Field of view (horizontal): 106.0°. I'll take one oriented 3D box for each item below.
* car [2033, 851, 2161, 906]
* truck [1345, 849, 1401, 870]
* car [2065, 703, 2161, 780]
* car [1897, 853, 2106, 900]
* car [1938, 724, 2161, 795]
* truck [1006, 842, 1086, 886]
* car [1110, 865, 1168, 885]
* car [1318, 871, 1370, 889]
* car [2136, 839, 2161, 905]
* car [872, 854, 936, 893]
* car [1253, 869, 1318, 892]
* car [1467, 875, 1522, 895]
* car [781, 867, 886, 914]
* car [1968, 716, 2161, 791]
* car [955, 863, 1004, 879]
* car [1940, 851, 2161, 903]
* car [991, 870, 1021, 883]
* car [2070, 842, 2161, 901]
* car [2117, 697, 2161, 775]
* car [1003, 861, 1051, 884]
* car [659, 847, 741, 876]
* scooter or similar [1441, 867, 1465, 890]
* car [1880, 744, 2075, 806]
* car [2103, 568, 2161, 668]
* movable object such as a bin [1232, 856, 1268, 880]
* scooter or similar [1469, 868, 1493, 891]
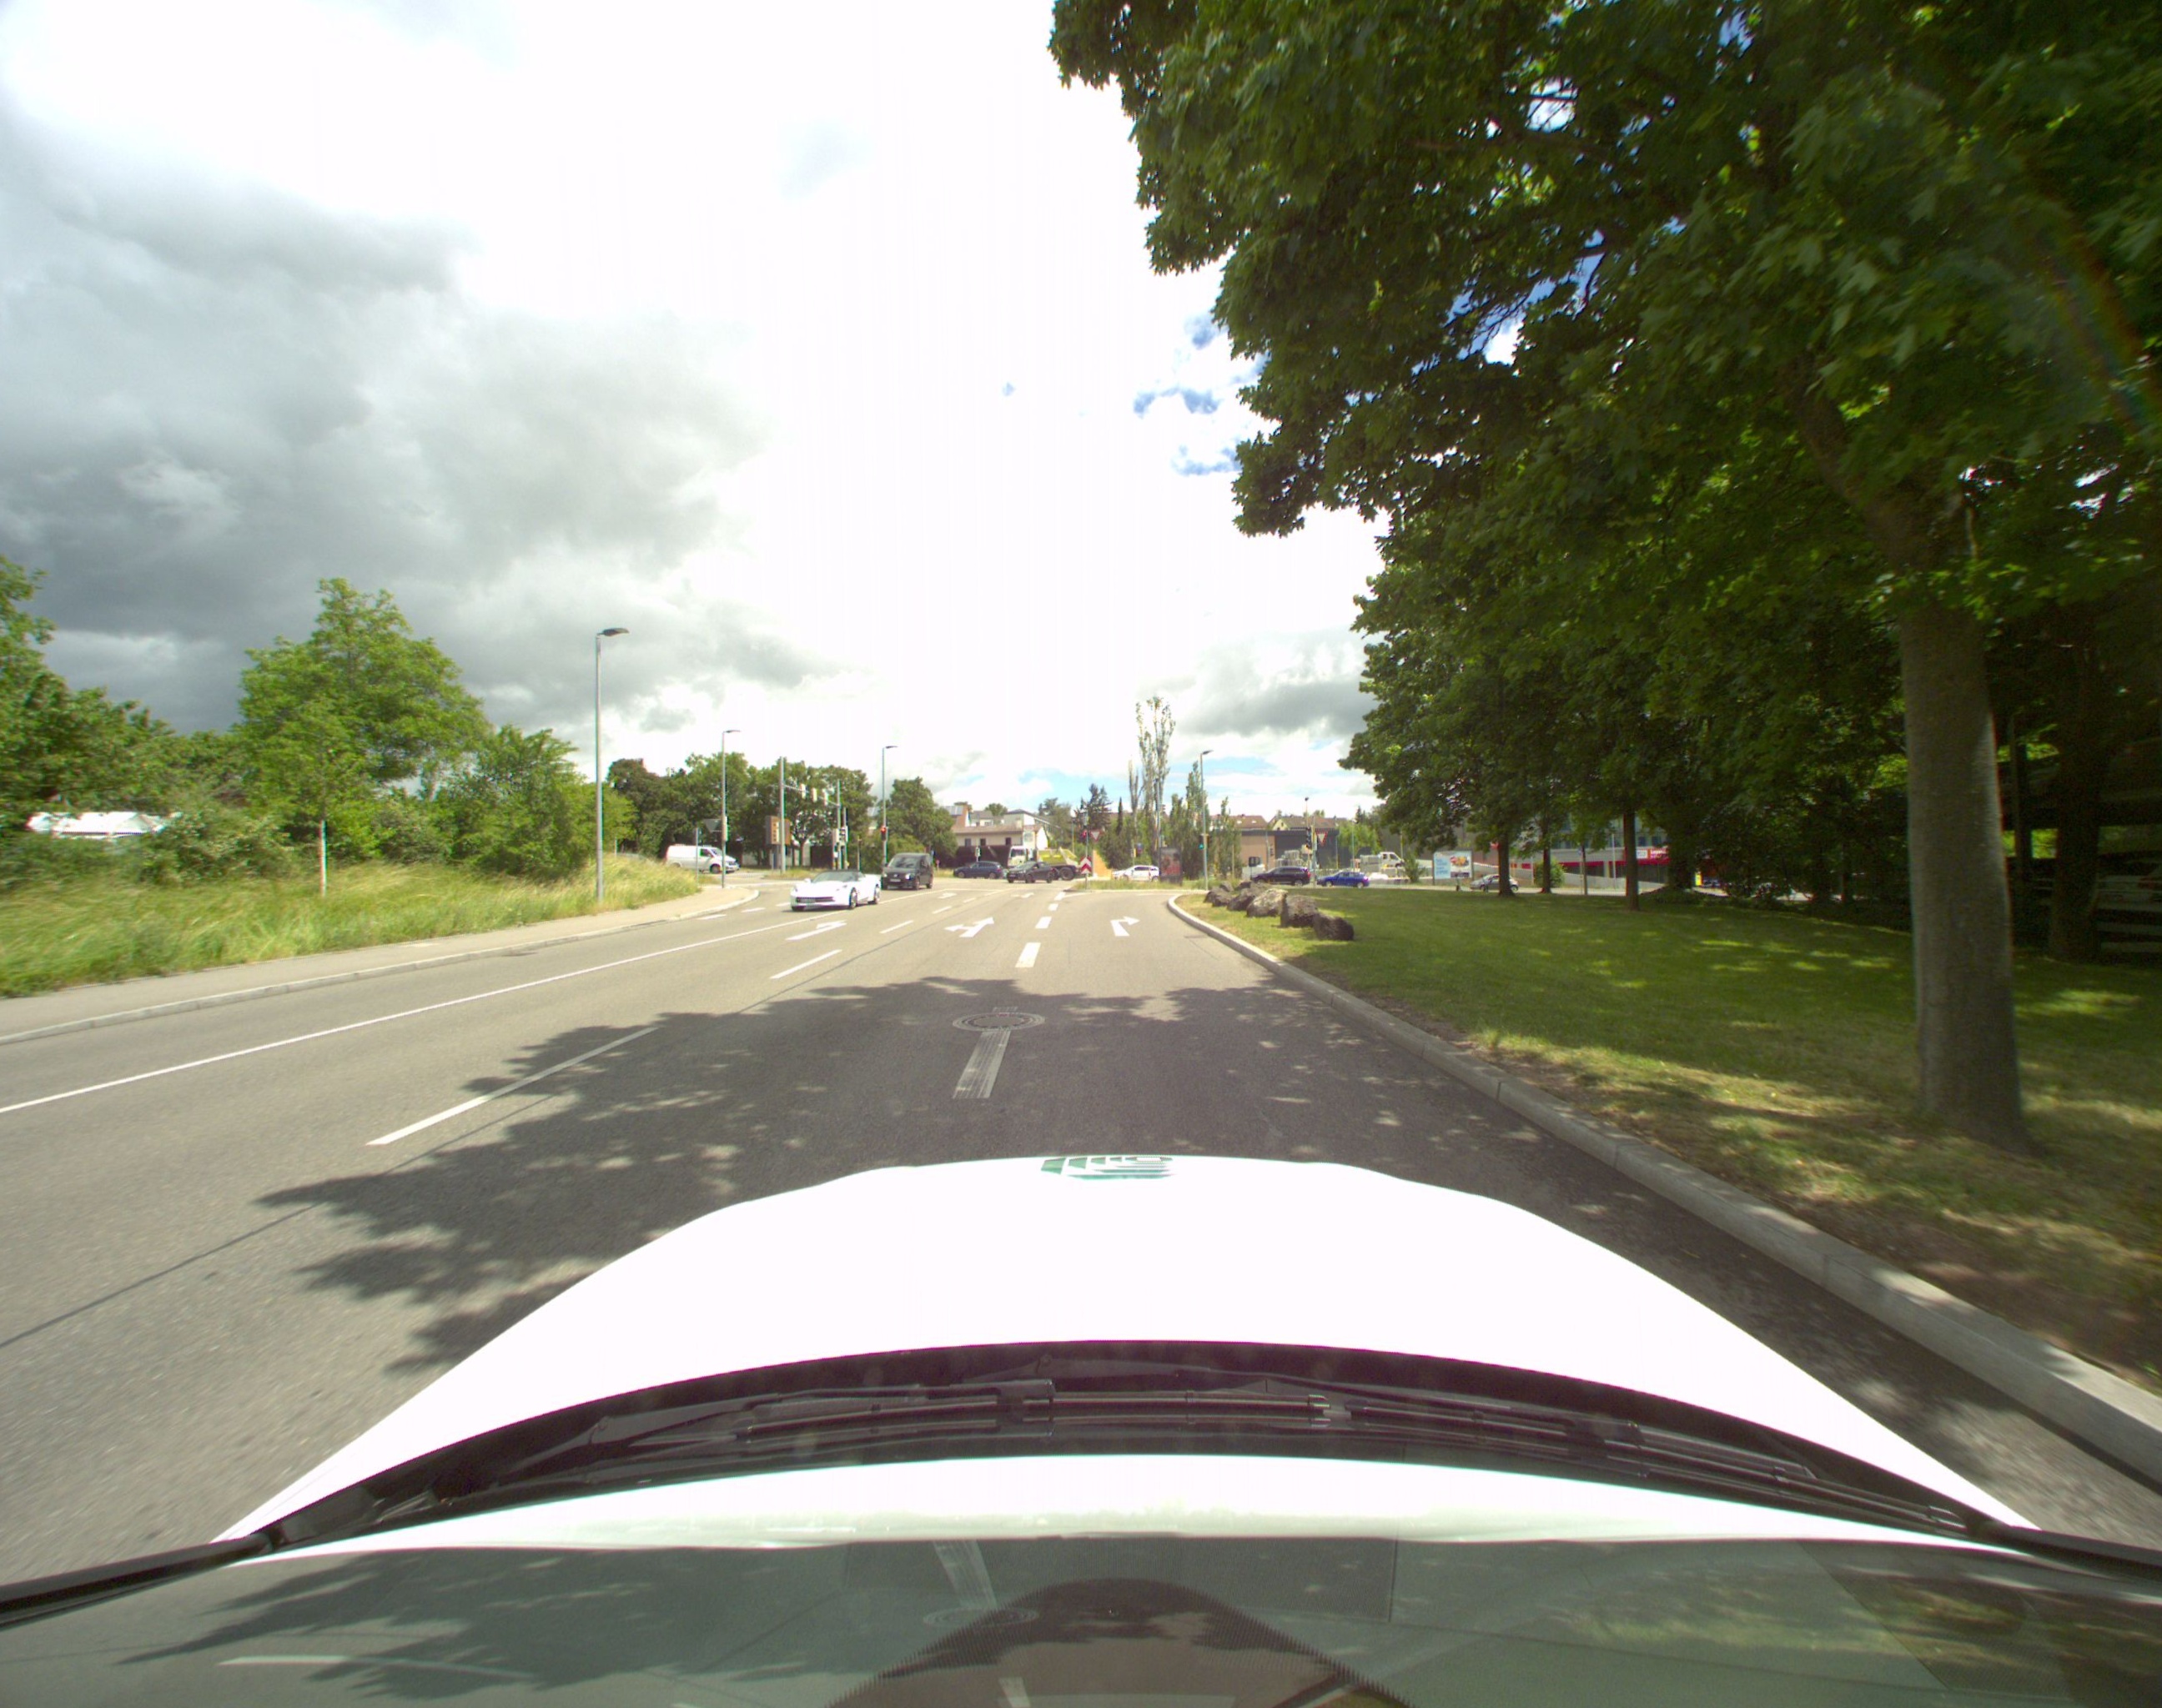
[{"bbox_3d":[26.841,0.573,20.202,3.752,1.292,1.787,-2,-1,23],"label":"car"},{"bbox_3d":[37.246,0.705,103.870,6.505,2.146,2.010,-4,-2,19],"label":"truck"},{"bbox_3d":[24.902,-2.571,17.961,3.658,1.541,1.737,-2,1,24],"label":"car"},{"bbox_3d":[27.621,0.671,24.621,3.752,1.292,1.787,-2,-1,23],"label":"car"},{"bbox_3d":[26.528,-2.544,22.396,3.658,1.541,1.737,-2,1,24],"label":"car"},{"bbox_3d":[-3.161,0.958,74.767,6.915,3.579,2.849,-4,-2,3],"label":"truck"},{"bbox_3d":[4.682,1.705,65.949,4.362,1.469,1.617,2,-1,-9],"label":"car"},{"bbox_3d":[22.379,2.202,69.331,3.968,1.400,1.699,1,-2,4],"label":"car"},{"bbox_3d":[24.176,0.312,16.013,3.752,1.392,1.787,-2,-1,23],"label":"car"},{"bbox_3d":[-8.690,0.939,40.487,1.777,1.779,4.816,-1,-1,4],"label":"car"},{"bbox_3d":[16.627,2.163,66.401,4.941,1.690,1.914,1,-1,5],"label":"car"},{"bbox_3d":[33.021,2.485,65.115,3.495,1.460,1.588,-3,-1,6],"label":"car"},{"bbox_3d":[-7.858,1.125,26.375,1.898,1.291,4.609,-2,-1,1],"label":"car"},{"bbox_3d":[25.535,-2.532,20.677,3.658,1.541,1.737,-2,1,24],"label":"car"},{"bbox_3d":[-8.841,1.496,71.180,3.969,1.400,1.698,1,-2,3],"label":"car"},{"bbox_3d":[26.778,0.642,22.500,3.752,1.292,1.787,-2,-1,23],"label":"car"},{"bbox_3d":[-8.382,2.488,90.842,1.702,1.400,3.960,2,-2,-31],"label":"car"},{"bbox_3d":[25.420,0.348,18.212,3.752,1.292,1.787,-2,-1,23],"label":"car"},{"bbox_3d":[23.913,-2.516,16.212,3.658,1.541,1.737,-2,1,24],"label":"car"},{"bbox_3d":[-3.818,1.332,58.529,1.769,1.578,4.187,-1,-1,23],"label":"car"},{"bbox_3d":[-27.535,0.533,58.962,4.937,1.937,1.911,1,-1,1],"label":"car"},{"bbox_3d":[21.217,1.389,46.496,1.190,1.264,0.530,2,-3,-19],"label":"scooter or similar"},{"bbox_3d":[27.521,-2.390,25.164,3.658,1.541,1.737,-2,1,24],"label":"car"},{"bbox_3d":[24.250,-4.996,16.531,3.950,1.662,1.879,1,-1,25],"label":"car"},{"bbox_3d":[18.411,1.485,88.647,3.374,2.538,2.164,0,-2,22],"label":"movable object such as a bin"},{"bbox_3d":[22.834,1.446,46.439,1.190,1.264,0.530,2,-3,-19],"label":"scooter or similar"}]
